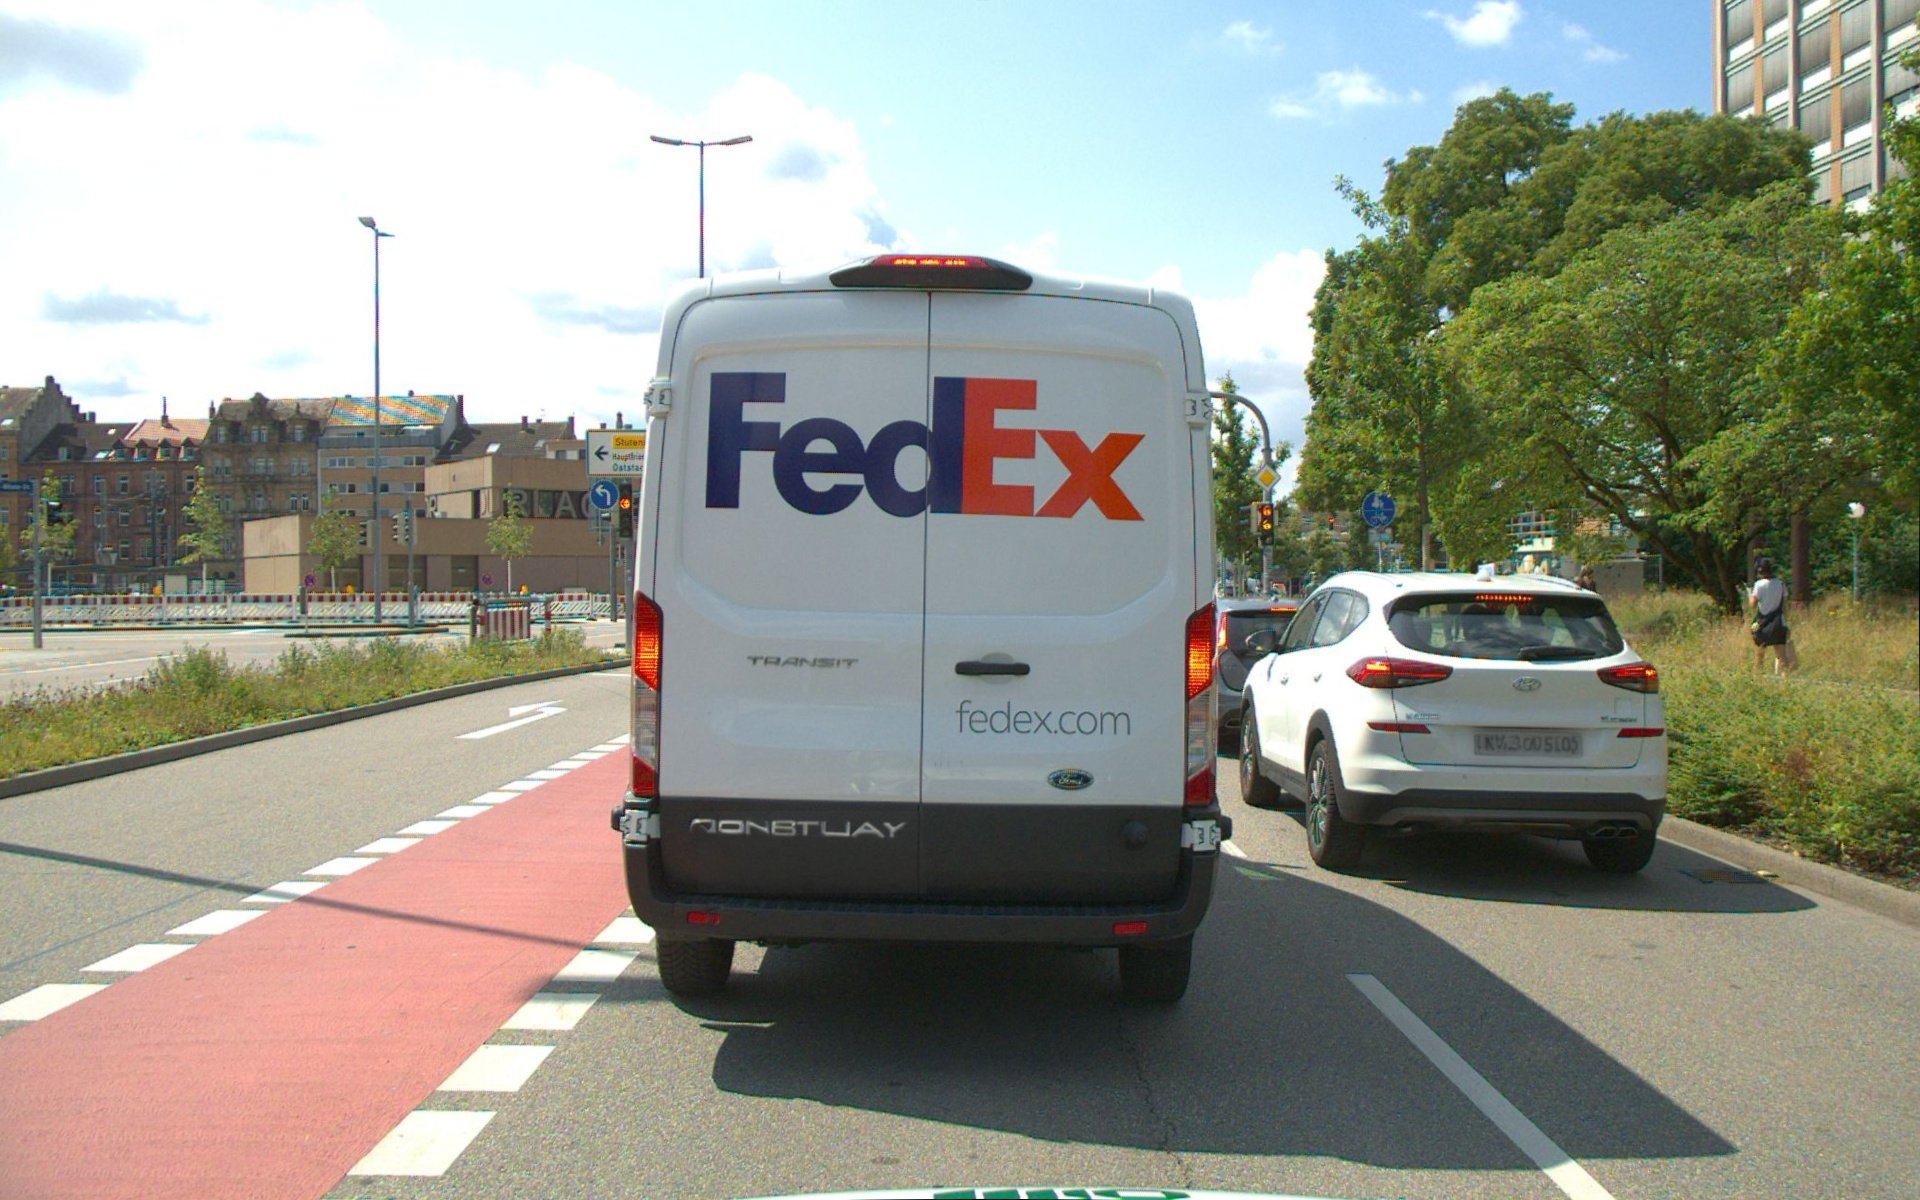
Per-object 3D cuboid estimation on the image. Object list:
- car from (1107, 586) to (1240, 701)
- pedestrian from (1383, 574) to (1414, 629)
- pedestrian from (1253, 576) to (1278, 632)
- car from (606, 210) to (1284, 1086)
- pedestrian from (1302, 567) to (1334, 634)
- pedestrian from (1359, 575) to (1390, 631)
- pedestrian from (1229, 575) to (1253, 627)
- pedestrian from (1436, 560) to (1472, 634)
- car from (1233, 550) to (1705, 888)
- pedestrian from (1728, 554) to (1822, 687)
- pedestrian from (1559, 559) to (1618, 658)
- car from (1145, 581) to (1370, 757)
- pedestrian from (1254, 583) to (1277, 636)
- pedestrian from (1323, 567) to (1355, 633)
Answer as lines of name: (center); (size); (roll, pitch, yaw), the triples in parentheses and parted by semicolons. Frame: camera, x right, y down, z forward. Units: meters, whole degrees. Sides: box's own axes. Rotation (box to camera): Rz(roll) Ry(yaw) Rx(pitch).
car: (2.942, 0.552, 23.350); (1.468, 1.489, 3.474); (0, 1, 1)
pedestrian: (14.983, 0.048, 56.530); (0.745, 1.882, 0.814); (0, 0, -9)
pedestrian: (10.494, 0.131, 56.841); (0.743, 1.882, 0.816); (0, 0, 18)
car: (-0.016, 0.120, 7.195); (2.030, 2.626, 4.428); (0, 1, 1)
pedestrian: (10.165, 0.004, 47.000); (0.743, 1.882, 0.816); (0, 0, 1)
pedestrian: (14.104, 0.093, 56.238); (0.745, 1.882, 0.814); (-1, 0, -11)
pedestrian: (10.213, 0.026, 60.128); (0.796, 1.882, 0.761); (0, 0, 2)
pedestrian: (12.259, -0.070, 41.052); (0.742, 1.820, 0.817); (0, 0, 7)
car: (2.908, 0.580, 10.372); (1.777, 1.708, 3.974); (0, 1, 1)
pedestrian: (9.900, 0.239, 20.117); (0.743, 1.584, 0.816); (0, 0, 2)
pedestrian: (10.923, 0.144, 28.772); (0.743, 1.684, 0.816); (0, 0, 3)
car: (2.905, 0.606, 16.852); (1.656, 1.576, 3.721); (0, 1, 1)
pedestrian: (10.933, 0.349, 59.204); (0.742, 1.882, 0.817); (0, 0, 14)
pedestrian: (10.891, -0.013, 47.513); (0.743, 1.882, 0.816); (0, 0, 3)
